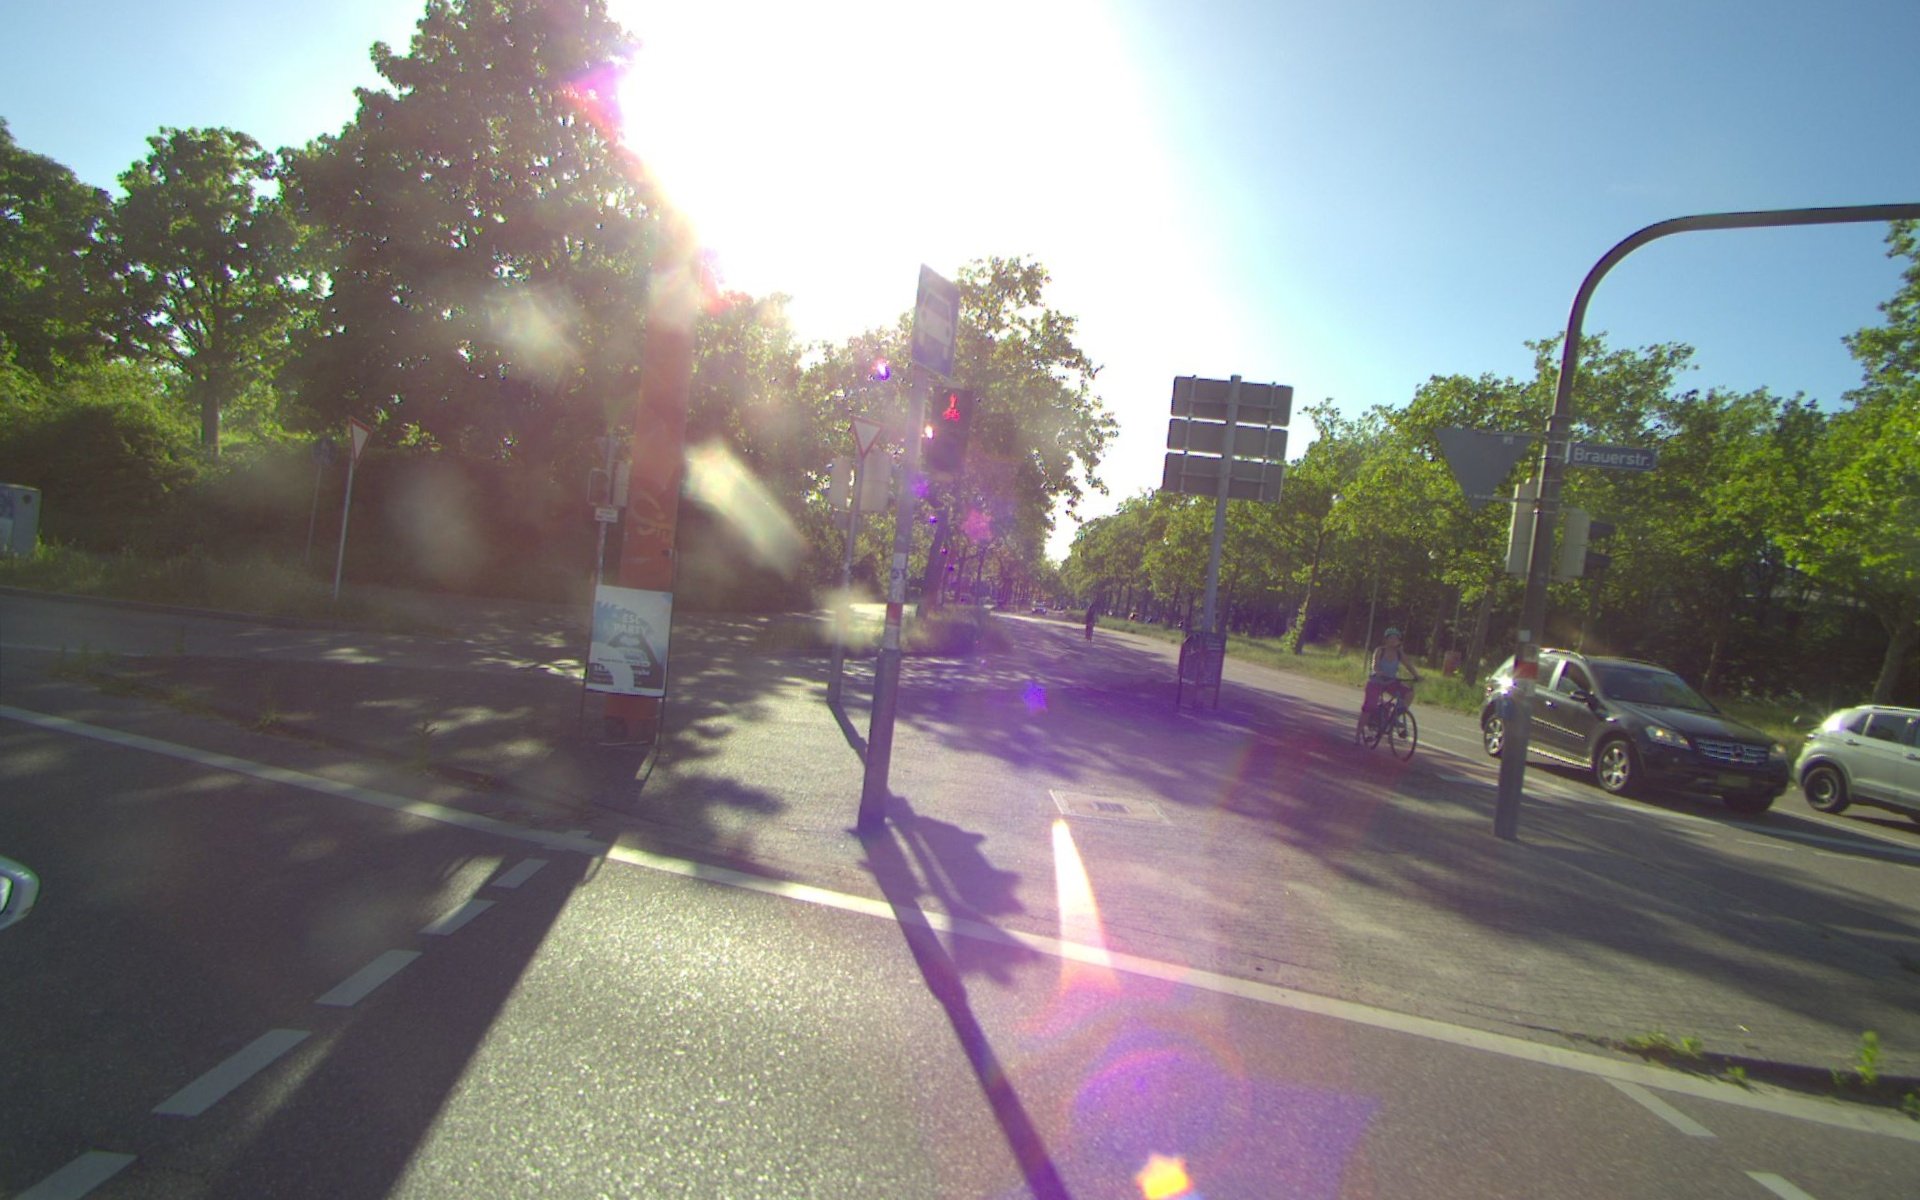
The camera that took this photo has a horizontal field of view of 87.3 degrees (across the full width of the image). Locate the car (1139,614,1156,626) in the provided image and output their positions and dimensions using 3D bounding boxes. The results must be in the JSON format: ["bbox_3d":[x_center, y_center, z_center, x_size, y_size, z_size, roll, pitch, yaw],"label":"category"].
[{"bbox_3d":[29.362,3.090,157.452,1.844,1.646,4.001,8,-1,1],"label":"car"}]

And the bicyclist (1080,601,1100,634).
[{"bbox_3d":[6.112,0.827,47.449,0.723,1.455,0.966,7,1,3],"label":"bicyclist"}]

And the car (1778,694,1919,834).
[{"bbox_3d":[12.944,2.261,12.656,1.741,1.558,4.089,7,0,-1],"label":"car"}]

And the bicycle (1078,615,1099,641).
[{"bbox_3d":[6.055,1.312,47.433,0.723,1.105,2.015,7,0,4],"label":"bicycle"}]

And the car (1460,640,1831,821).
[{"bbox_3d":[9.311,1.649,14.300,1.873,1.748,4.652,7,0,0],"label":"car"}]

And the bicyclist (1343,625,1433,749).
[{"bbox_3d":[5.967,1.184,14.083,0.747,1.578,0.981,7,2,7],"label":"bicyclist"}]

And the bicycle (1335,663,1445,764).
[{"bbox_3d":[5.929,1.528,14.013,0.751,1.105,2.015,7,1,7],"label":"bicycle"}]
